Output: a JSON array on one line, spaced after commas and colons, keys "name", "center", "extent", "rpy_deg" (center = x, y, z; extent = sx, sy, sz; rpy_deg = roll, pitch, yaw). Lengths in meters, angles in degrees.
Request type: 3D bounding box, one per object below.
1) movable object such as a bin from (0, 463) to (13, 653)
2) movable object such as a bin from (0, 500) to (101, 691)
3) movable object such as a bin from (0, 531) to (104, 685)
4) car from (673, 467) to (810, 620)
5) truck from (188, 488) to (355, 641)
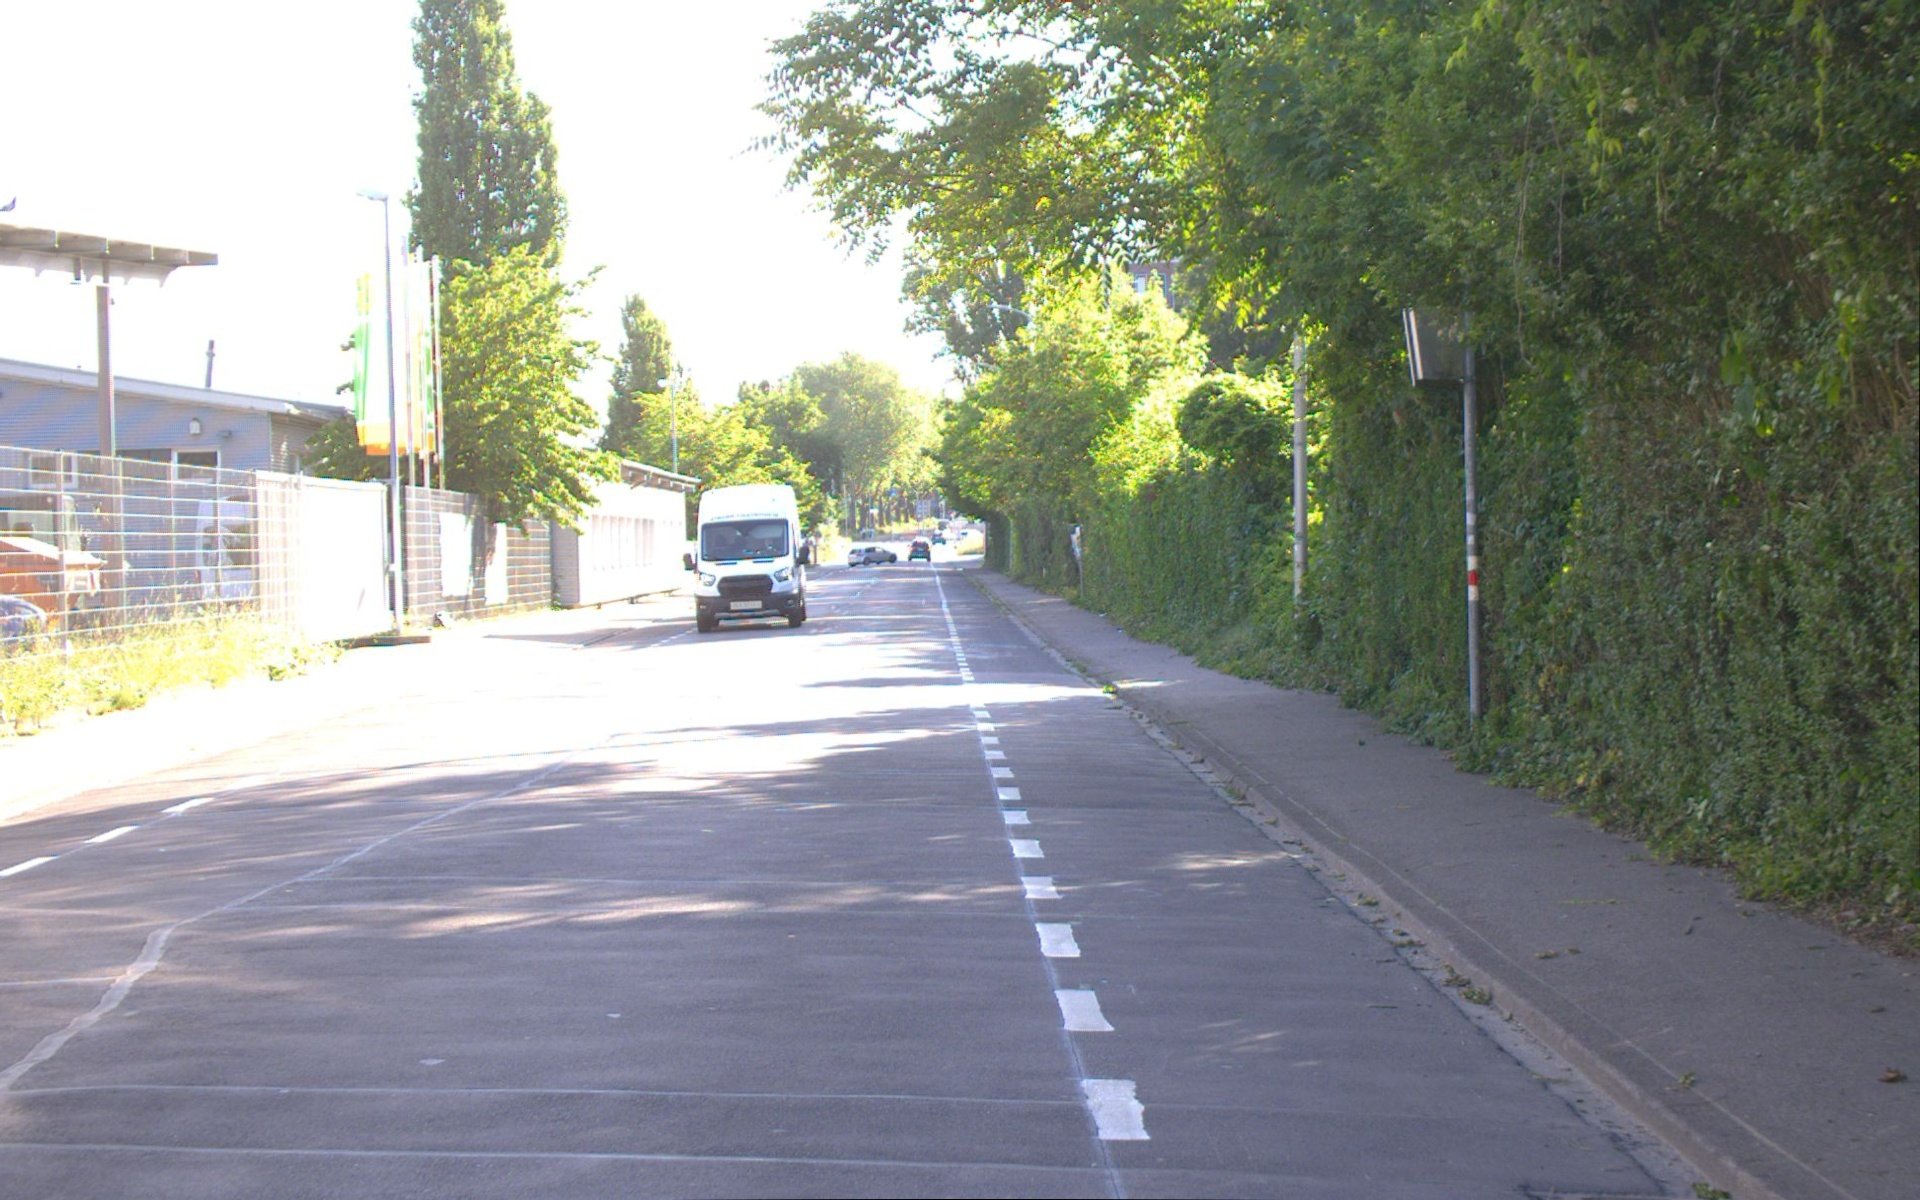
[{"name": "movable object such as a bin", "center": [-12.149, -0.455, 38.356], "extent": [2.795, 2.119, 1.383], "rpy_deg": [0, 1, 25]}, {"name": "movable object such as a bin", "center": [-11.628, -0.071, 39.927], "extent": [2.884, 2.141, 1.497], "rpy_deg": [0, 1, 26]}, {"name": "movable object such as a bin", "center": [-12.118, 0.092, 41.824], "extent": [3.038, 1.829, 1.526], "rpy_deg": [-1, 1, -2]}, {"name": "car", "center": [-4.216, -1.081, 67.260], "extent": [2.123, 2.771, 5.926], "rpy_deg": [-3, 0, 0]}, {"name": "truck", "center": [-13.063, -0.693, 65.576], "extent": [2.078, 2.752, 5.765], "rpy_deg": [-1, 1, -1]}]
